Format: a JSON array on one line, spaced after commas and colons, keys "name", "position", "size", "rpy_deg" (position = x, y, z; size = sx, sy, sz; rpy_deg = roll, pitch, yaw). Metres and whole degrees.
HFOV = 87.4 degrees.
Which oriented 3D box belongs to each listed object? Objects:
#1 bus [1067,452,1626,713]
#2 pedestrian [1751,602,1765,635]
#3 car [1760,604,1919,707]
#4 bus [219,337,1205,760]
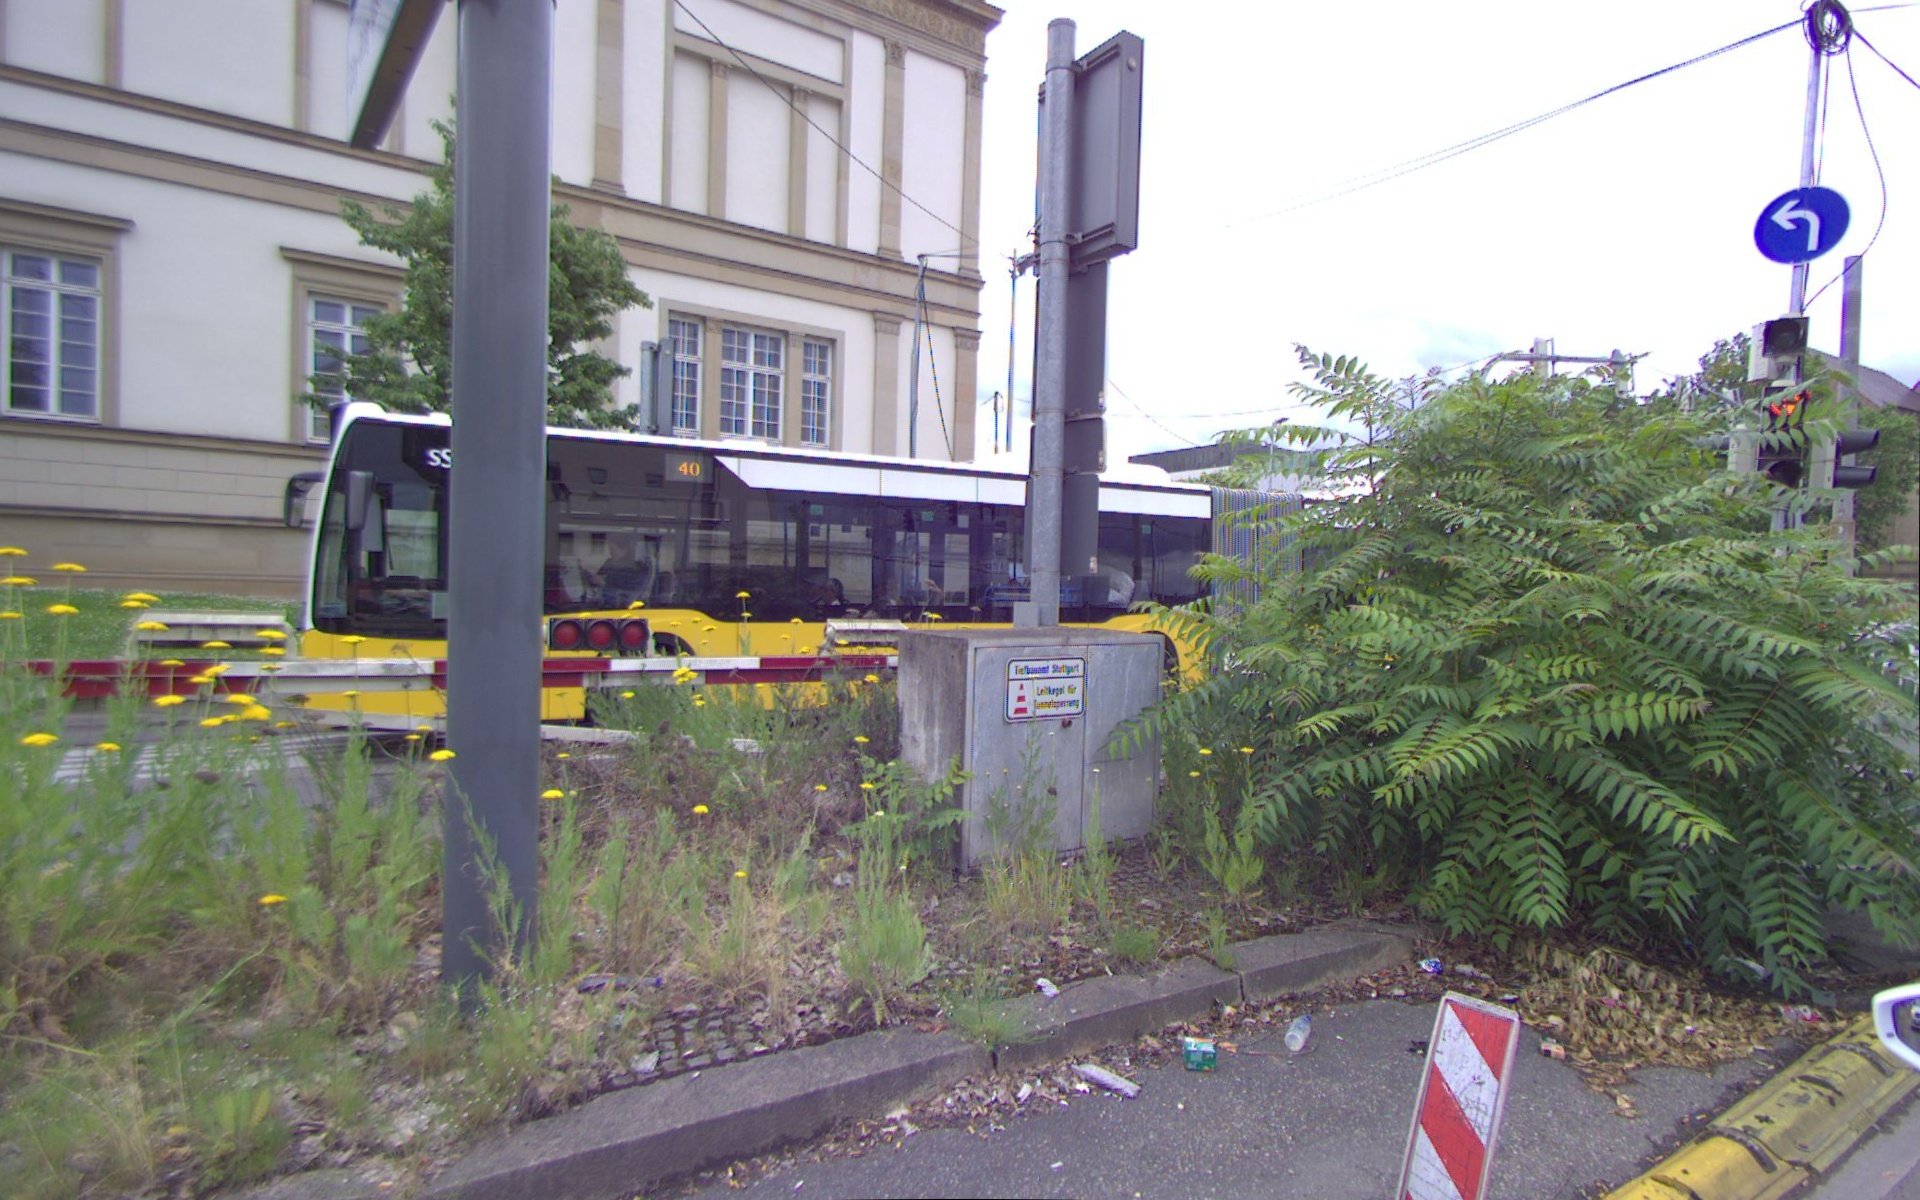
[{"name": "bus", "position": [6.222, -0.158, 15.556], "size": [9.007, 3.156, 2.834], "rpy_deg": [1, 1, -28]}, {"name": "pedestrian", "position": [49.867, 1.164, 62.768], "size": [0.516, 2.040, 0.428], "rpy_deg": [2, 1, 17]}, {"name": "car", "position": [15.637, 0.856, 16.987], "size": [4.394, 1.492, 1.868], "rpy_deg": [1, 1, -31]}, {"name": "bus", "position": [-1.959, -0.327, 11.079], "size": [9.628, 3.156, 2.833], "rpy_deg": [1, 1, -29]}]
